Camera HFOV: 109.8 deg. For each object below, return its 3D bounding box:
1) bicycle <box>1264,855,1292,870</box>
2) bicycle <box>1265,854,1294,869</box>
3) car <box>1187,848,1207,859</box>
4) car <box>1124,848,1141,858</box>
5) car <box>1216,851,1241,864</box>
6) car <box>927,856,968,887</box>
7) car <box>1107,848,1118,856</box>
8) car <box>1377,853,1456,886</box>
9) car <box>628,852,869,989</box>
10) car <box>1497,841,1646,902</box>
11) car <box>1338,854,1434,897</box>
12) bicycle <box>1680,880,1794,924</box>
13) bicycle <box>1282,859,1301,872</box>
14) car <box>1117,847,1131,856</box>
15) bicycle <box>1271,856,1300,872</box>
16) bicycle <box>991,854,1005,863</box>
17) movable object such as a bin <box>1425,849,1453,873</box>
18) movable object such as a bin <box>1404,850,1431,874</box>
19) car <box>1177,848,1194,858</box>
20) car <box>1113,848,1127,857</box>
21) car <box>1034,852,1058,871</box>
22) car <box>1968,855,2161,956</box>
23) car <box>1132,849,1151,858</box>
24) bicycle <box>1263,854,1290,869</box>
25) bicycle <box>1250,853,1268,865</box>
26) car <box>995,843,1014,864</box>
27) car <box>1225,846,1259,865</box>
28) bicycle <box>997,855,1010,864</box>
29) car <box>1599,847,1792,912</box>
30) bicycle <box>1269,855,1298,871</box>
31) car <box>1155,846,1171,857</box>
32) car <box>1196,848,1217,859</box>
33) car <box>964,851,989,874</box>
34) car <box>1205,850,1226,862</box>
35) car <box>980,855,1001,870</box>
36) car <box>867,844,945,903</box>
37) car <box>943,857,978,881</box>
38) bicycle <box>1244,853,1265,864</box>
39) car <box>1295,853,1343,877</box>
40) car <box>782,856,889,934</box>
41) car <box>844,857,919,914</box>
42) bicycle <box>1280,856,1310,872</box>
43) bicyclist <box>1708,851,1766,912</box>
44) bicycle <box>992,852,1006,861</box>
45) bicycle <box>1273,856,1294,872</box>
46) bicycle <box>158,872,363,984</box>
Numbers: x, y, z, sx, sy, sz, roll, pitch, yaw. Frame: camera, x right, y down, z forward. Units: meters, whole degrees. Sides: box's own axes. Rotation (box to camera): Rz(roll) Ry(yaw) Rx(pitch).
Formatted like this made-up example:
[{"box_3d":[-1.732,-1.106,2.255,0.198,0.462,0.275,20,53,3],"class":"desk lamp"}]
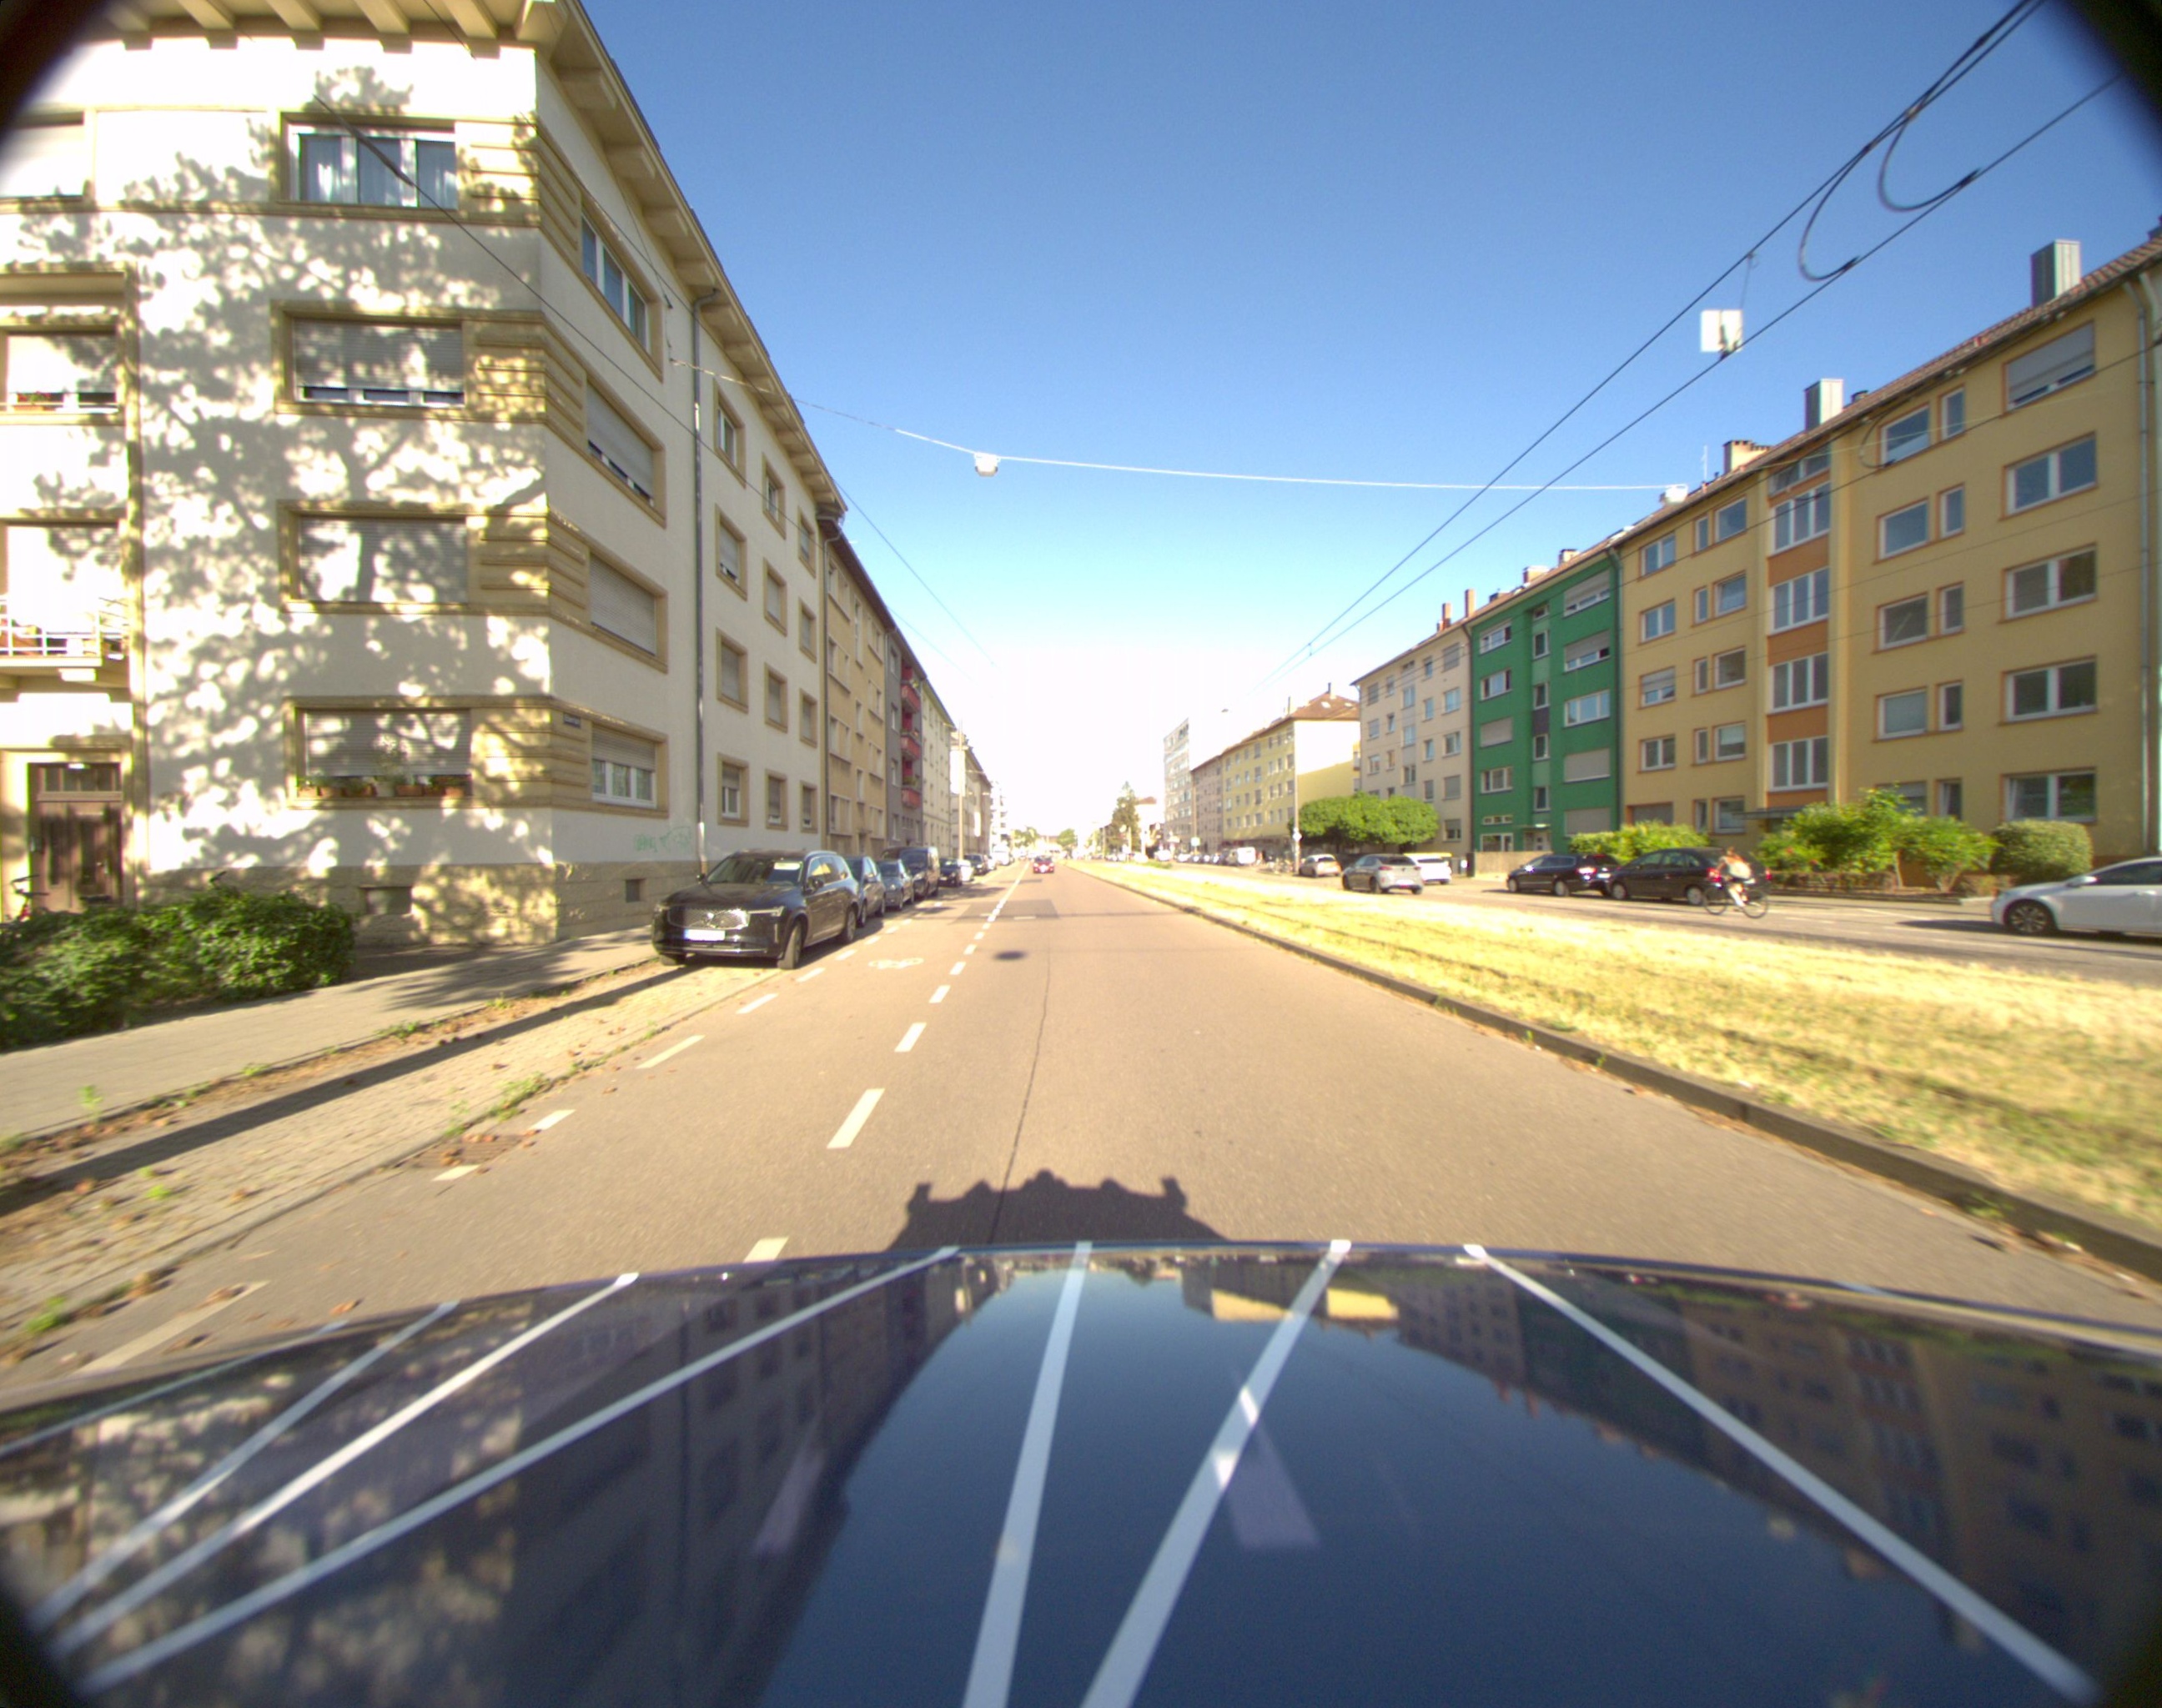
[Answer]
[{"box_3d":[15.758,0.654,60.711,2.053,1.086,0.615,-3,1,3],"class":"bicycle"},{"box_3d":[15.691,0.605,60.026,2.053,1.086,0.615,-3,1,3],"class":"bicycle"},{"box_3d":[16.539,-0.105,108.683,1.788,1.377,4.412,-3,1,-5],"class":"car"},{"box_3d":[8.050,-0.173,120.025,1.789,1.519,4.411,0,0,-9],"class":"car"},{"box_3d":[17.768,0.399,91.799,1.788,1.465,4.594,-3,1,-4],"class":"car"},{"box_3d":[-6.846,0.858,39.235,1.640,1.445,3.788,2,0,-3],"class":"car"},{"box_3d":[6.096,-0.425,147.321,1.618,1.550,3.998,1,0,-4],"class":"car"},{"box_3d":[16.358,0.725,37.335,1.733,1.446,4.374,-2,1,-3],"class":"car"},{"box_3d":[-5.038,0.867,12.406,1.884,1.707,4.932,2,0,-2],"class":"car"},{"box_3d":[17.014,0.540,26.696,1.999,1.827,4.607,-3,1,-3],"class":"car"},{"box_3d":[11.097,0.732,27.996,1.699,1.440,4.215,0,0,-2],"class":"car"},{"box_3d":[15.160,1.085,17.644,0.770,0.874,2.068,1,0,-3],"class":"bicycle"},{"box_3d":[15.613,0.847,56.365,0.377,0.861,2.052,-4,1,-15],"class":"bicycle"},{"box_3d":[7.230,-0.403,127.490,1.788,1.572,4.606,0,0,-4],"class":"car"},{"box_3d":[15.754,0.781,58.640,2.053,1.086,0.615,-3,1,3],"class":"bicycle"},{"box_3d":[-10.211,0.553,93.160,1.912,1.081,0.475,0,1,40],"class":"bicycle"},{"box_3d":[21.596,0.406,45.872,1.150,1.360,1.039,-3,1,-1],"class":"movable object such as a bin"},{"box_3d":[20.298,0.480,45.859,1.150,1.360,1.039,-3,1,-1],"class":"movable object such as a bin"},{"box_3d":[16.087,-0.124,117.105,1.763,1.477,4.198,-3,1,-4],"class":"car"},{"box_3d":[6.882,-0.283,134.772,1.862,1.541,4.238,1,0,-5],"class":"car"},{"box_3d":[-2.823,0.571,60.673,1.863,1.461,3.807,0,0,-3],"class":"car"},{"box_3d":[17.724,0.807,11.924,1.898,1.483,4.700,-3,1,-5],"class":"car"},{"box_3d":[9.064,-0.077,113.856,1.840,1.377,4.411,0,0,-9],"class":"car"},{"box_3d":[15.783,0.571,61.368,2.053,1.086,0.615,-3,1,3],"class":"bicycle"},{"box_3d":[18.775,0.545,80.123,1.824,1.099,0.390,-3,1,-3],"class":"bicycle"},{"box_3d":[-10.102,-0.091,100.286,2.157,2.680,6.289,1,0,-4],"class":"car"},{"box_3d":[18.236,0.118,86.248,1.999,1.938,5.497,-3,1,-6],"class":"car"},{"box_3d":[-9.724,0.708,95.307,2.023,1.081,0.487,-3,1,44],"class":"bicycle"},{"box_3d":[17.389,0.644,21.819,1.999,1.598,4.149,-3,1,-3],"class":"car"},{"box_3d":[15.794,0.715,59.328,2.053,1.086,0.615,-3,1,3],"class":"bicycle"},{"box_3d":[14.998,-0.386,139.364,1.999,1.887,4.667,-3,1,-5],"class":"car"},{"box_3d":[17.051,-0.106,103.280,1.788,1.412,4.413,-3,1,-4],"class":"car"},{"box_3d":[-7.845,0.619,57.495,1.640,1.638,4.371,2,0,-6],"class":"car"},{"box_3d":[17.240,0.218,97.677,1.788,1.377,3.766,-3,1,-4],"class":"car"},{"box_3d":[-8.752,0.791,73.717,1.699,1.450,4.377,0,0,-3],"class":"car"},{"box_3d":[-6.239,0.625,27.696,1.918,1.888,5.132,2,0,-4],"class":"car"},{"box_3d":[-7.387,0.879,46.863,1.707,1.268,4.301,3,0,-4],"class":"car"},{"box_3d":[18.740,0.451,82.048,2.103,1.099,0.472,-3,1,-3],"class":"bicycle"},{"box_3d":[15.676,0.692,50.207,1.640,1.434,3.732,-3,1,-6],"class":"car"},{"box_3d":[-5.608,0.862,17.795,1.598,1.569,3.893,1,1,-6],"class":"car"},{"box_3d":[-5.842,0.872,22.683,1.515,1.469,4.235,1,1,-6],"class":"car"},{"box_3d":[16.136,0.774,57.290,2.050,1.086,0.616,-3,1,24],"class":"bicycle"},{"box_3d":[15.160,0.629,17.564,0.775,1.376,0.648,-1,1,-3],"class":"bicyclist"},{"box_3d":[-10.152,0.277,94.481,1.912,1.081,0.474,2,5,40],"class":"bicycle"},{"box_3d":[14.939,0.742,56.122,0.511,1.086,1.933,-4,1,-15],"class":"bicycle"},{"box_3d":[-9.994,0.884,9.295,1.835,1.293,0.564,1,1,-2],"class":"bicycle"}]
